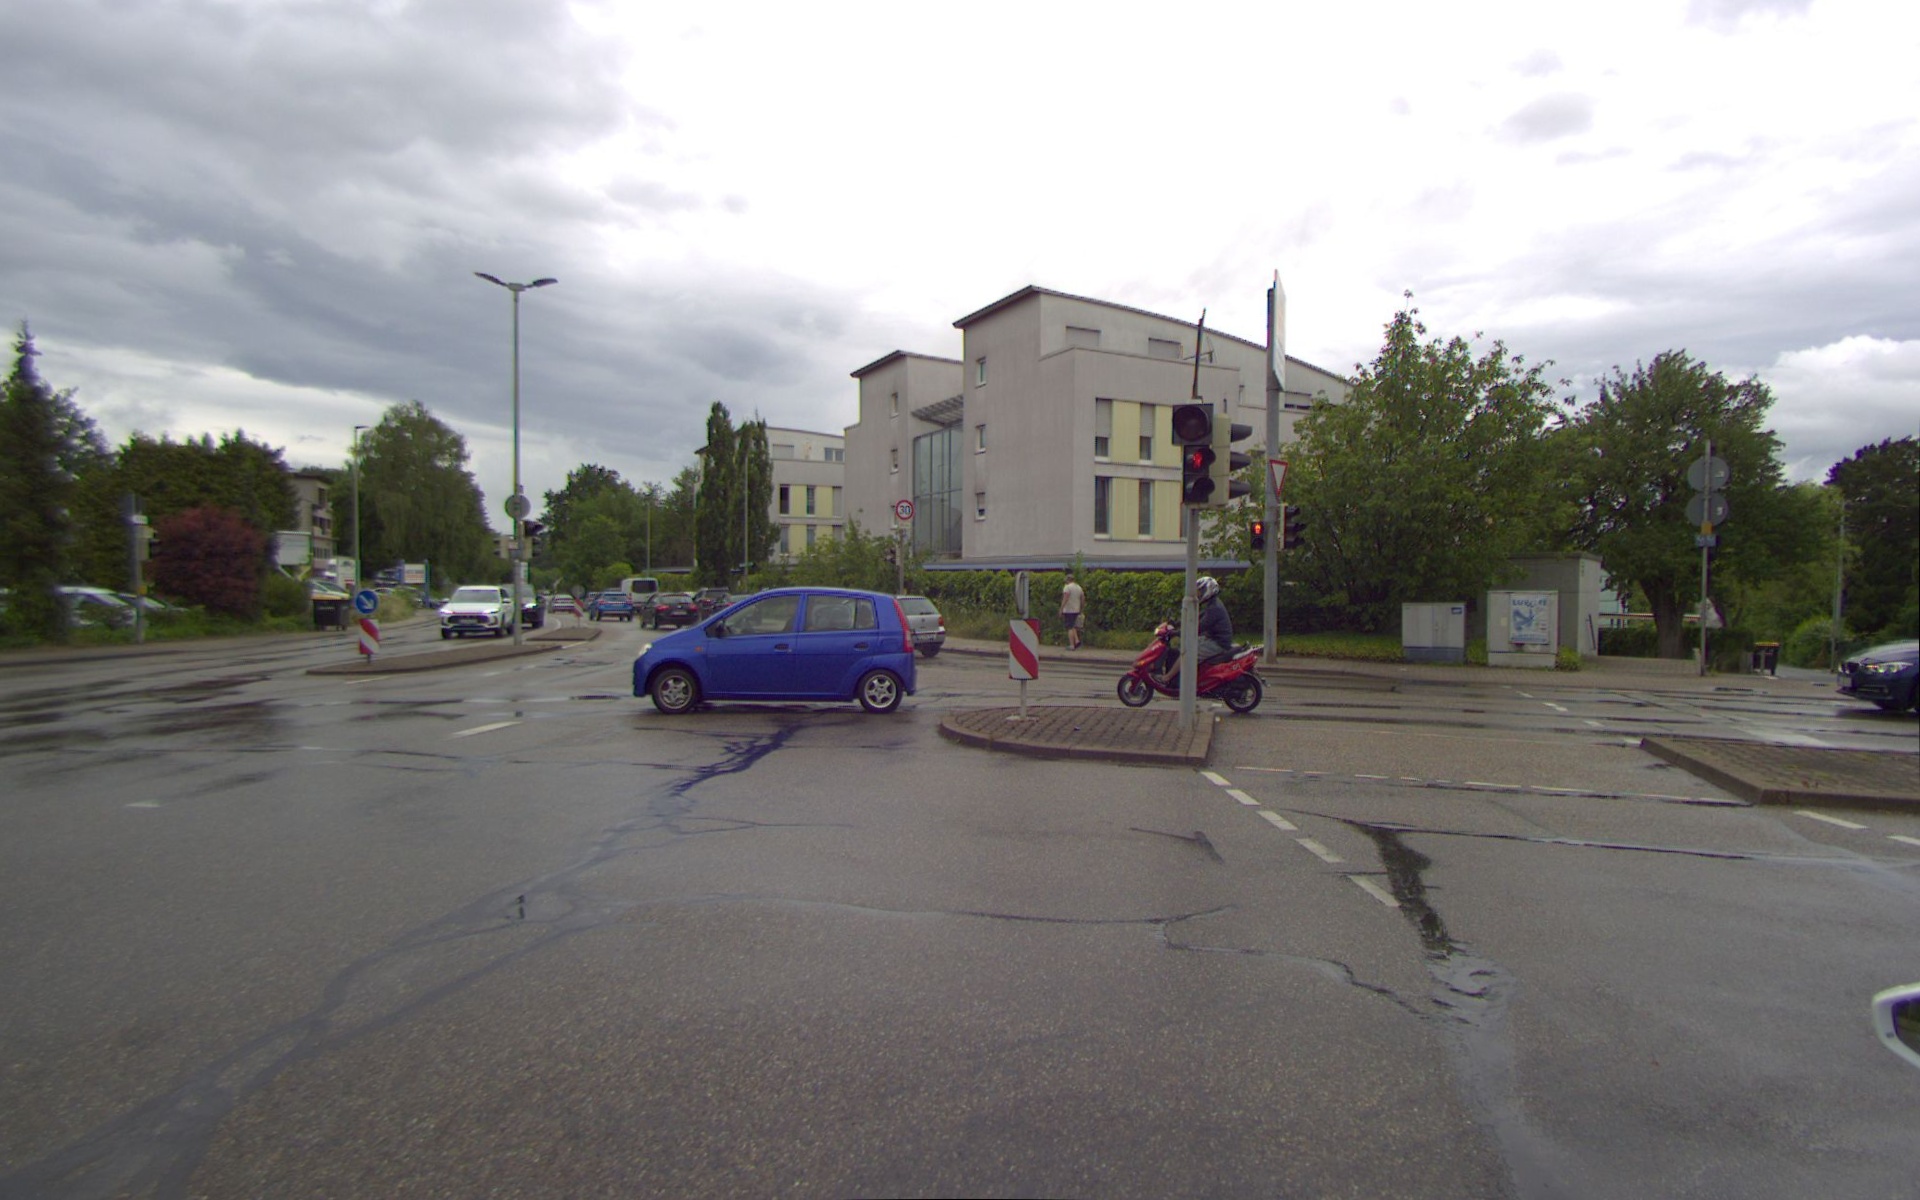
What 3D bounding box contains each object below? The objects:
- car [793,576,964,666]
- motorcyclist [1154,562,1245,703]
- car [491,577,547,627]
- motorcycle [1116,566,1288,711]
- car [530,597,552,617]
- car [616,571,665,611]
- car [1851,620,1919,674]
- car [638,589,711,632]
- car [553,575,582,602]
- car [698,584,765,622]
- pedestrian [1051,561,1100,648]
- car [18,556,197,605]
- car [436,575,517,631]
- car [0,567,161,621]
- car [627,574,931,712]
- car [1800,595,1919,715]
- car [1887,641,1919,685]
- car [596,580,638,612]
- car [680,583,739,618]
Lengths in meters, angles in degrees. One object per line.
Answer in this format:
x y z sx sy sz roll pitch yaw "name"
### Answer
-1.981 0.396 23.557 1.986 1.693 3.948 -2 5 -43 "car"
2.906 0.380 12.253 0.920 1.646 0.773 2 1 4 "motorcyclist"
-17.723 0.034 40.385 1.972 1.840 3.976 0 2 -24 "car"
2.914 0.446 12.269 1.883 1.646 0.798 2 1 4 "motorcycle"
-50.441 0.800 120.937 1.958 2.041 3.966 -1 5 -31 "car"
-21.202 -0.553 66.506 2.564 2.445 5.226 0 -1 -24 "car"
45.465 2.306 46.336 5.913 2.230 2.846 4 3 30 "car"
-11.303 0.368 39.620 1.975 1.573 3.969 0 1 -29 "car"
-29.817 -0.896 76.230 1.971 1.782 3.977 0 4 -23 "car"
-10.146 0.099 44.399 1.974 1.576 3.972 -1 2 -27 "car"
2.774 0.088 24.175 0.840 2.041 0.794 -1 2 -33 "pedestrian"
-27.065 -0.621 32.038 3.937 1.413 1.725 1 4 -18 "car"
-15.629 0.056 32.660 1.970 1.662 3.981 1 2 -20 "car"
-26.462 -0.193 29.694 3.935 1.484 1.993 1 2 -16 "car"
-2.078 0.482 12.128 3.374 1.476 1.524 2 1 -4 "car"
13.504 0.746 12.523 4.269 1.454 1.758 2 1 24 "car"
36.091 2.349 37.640 1.739 1.427 3.844 0 0 39 "car"
-17.984 -0.259 52.578 1.970 1.576 3.980 -1 1 -21 "car"
-12.160 -0.025 48.577 1.974 1.576 3.972 -1 2 -27 "car"
